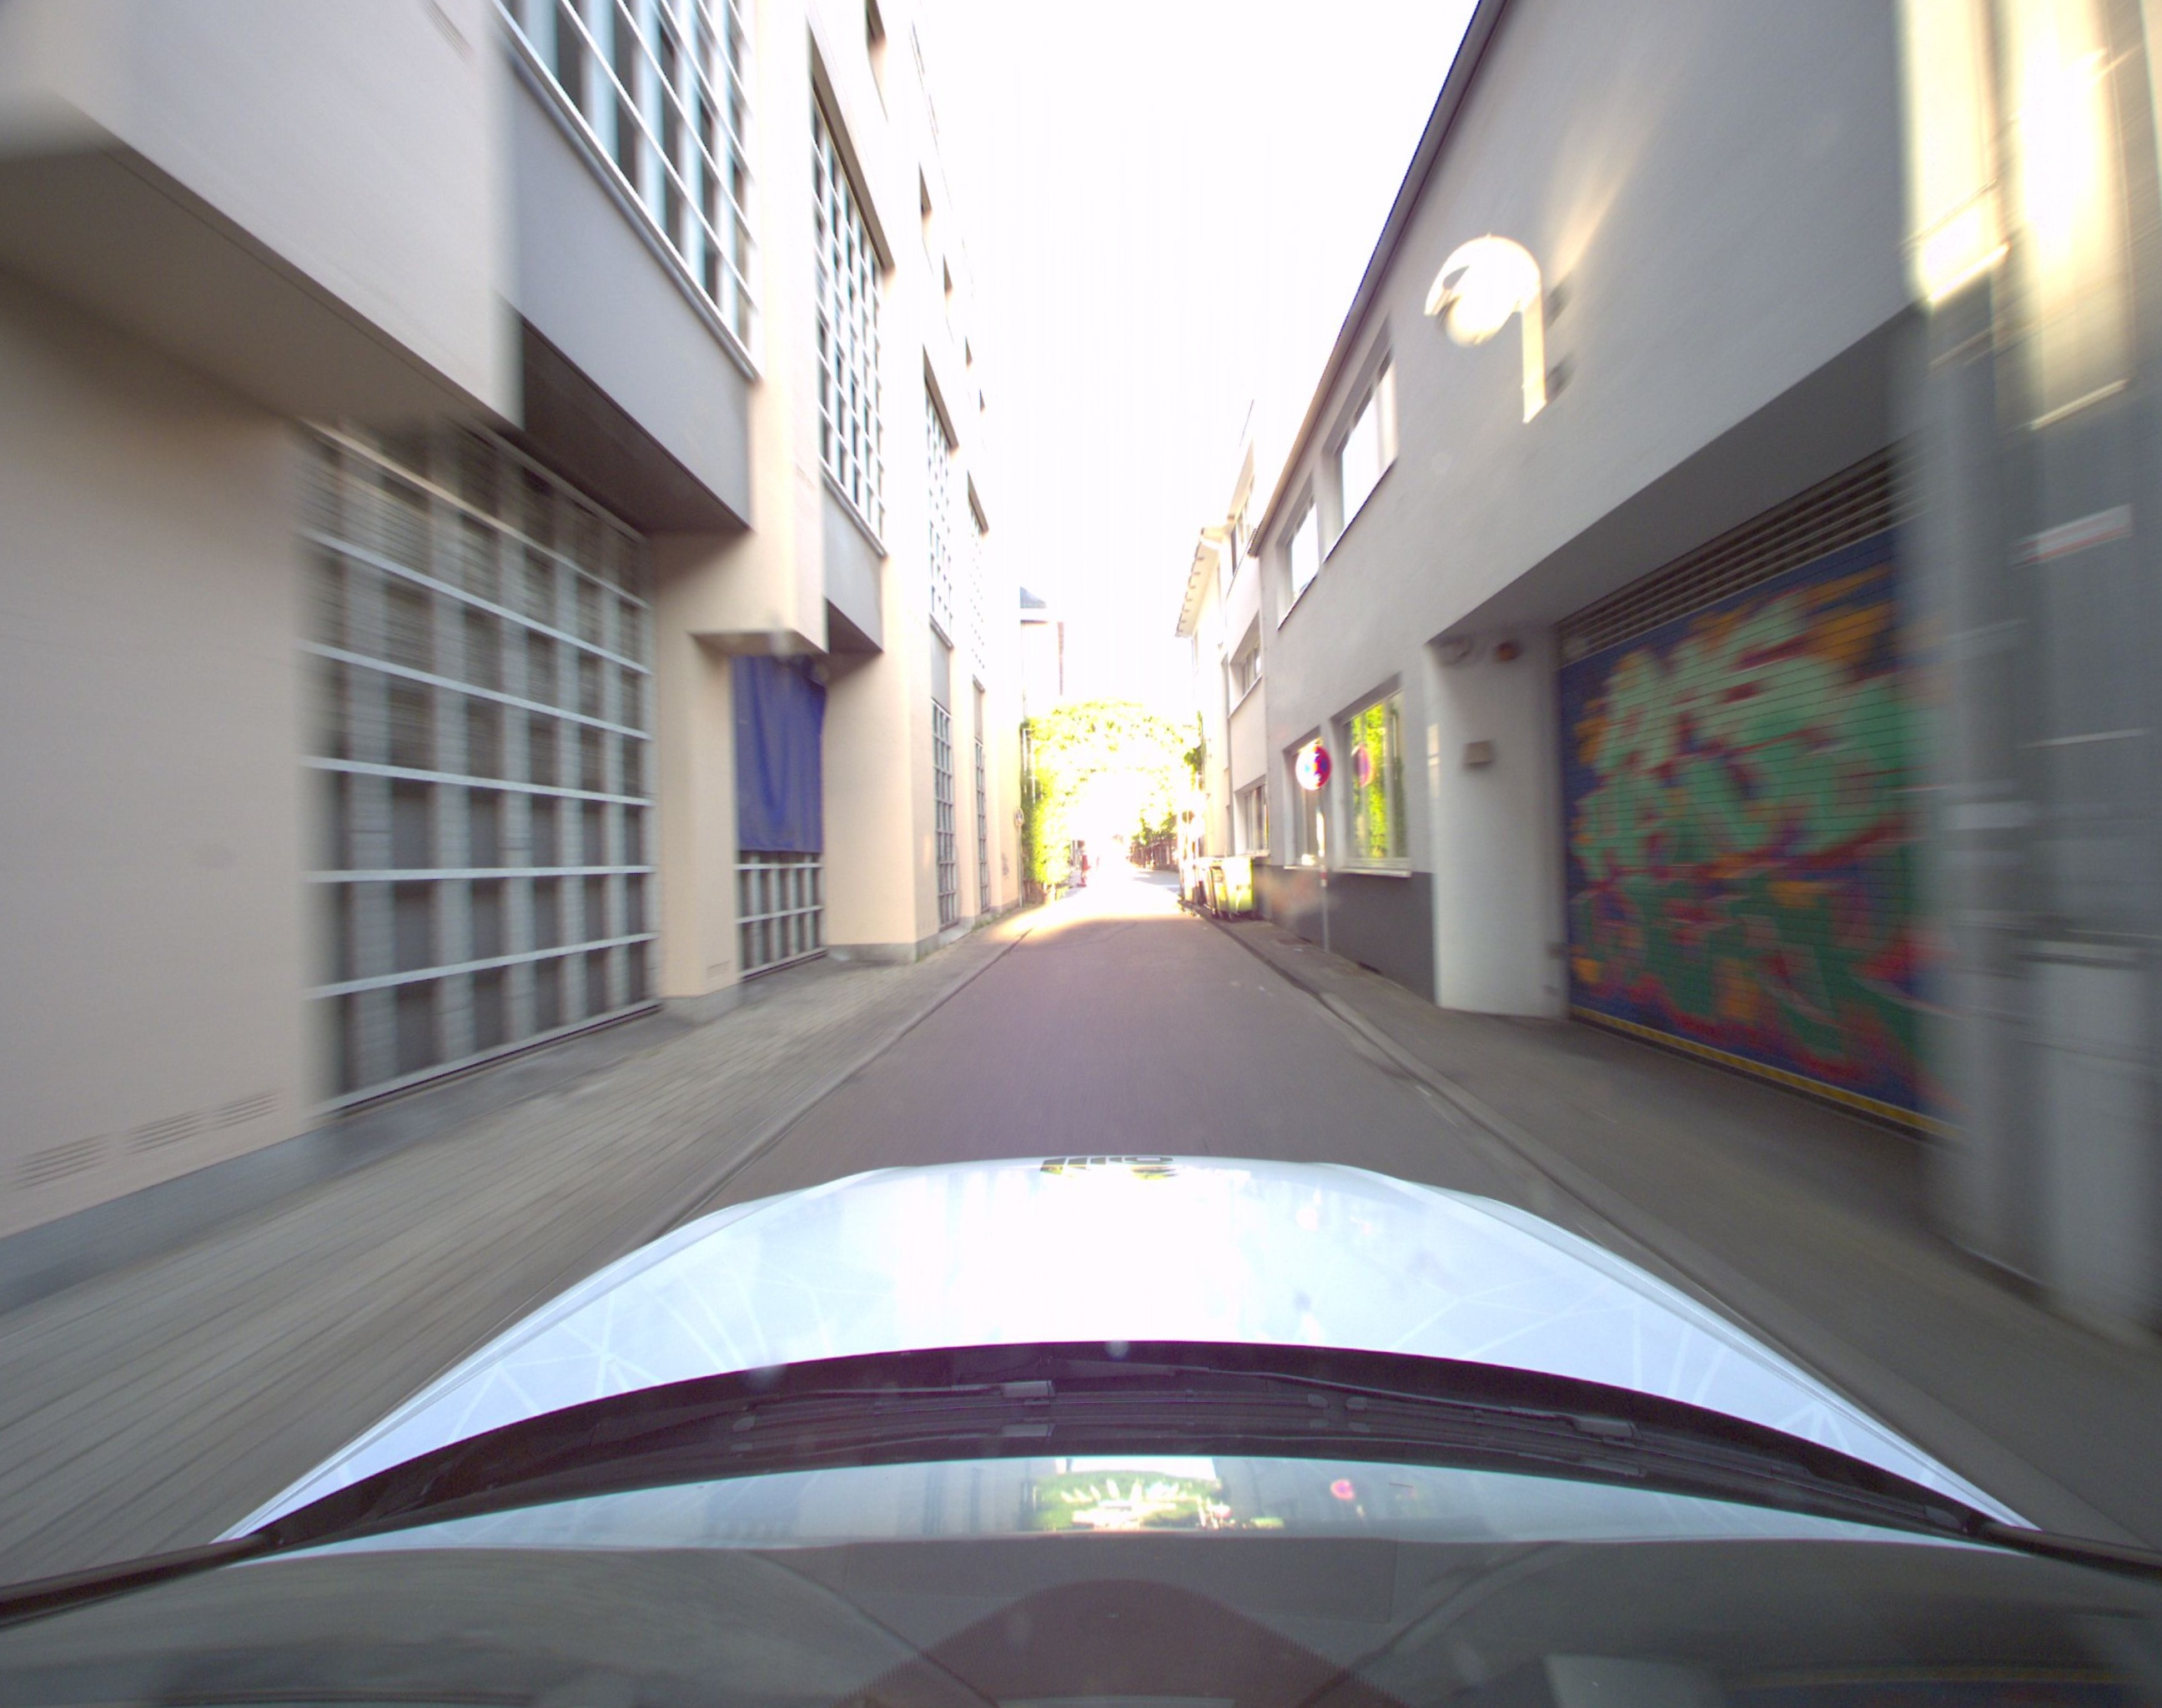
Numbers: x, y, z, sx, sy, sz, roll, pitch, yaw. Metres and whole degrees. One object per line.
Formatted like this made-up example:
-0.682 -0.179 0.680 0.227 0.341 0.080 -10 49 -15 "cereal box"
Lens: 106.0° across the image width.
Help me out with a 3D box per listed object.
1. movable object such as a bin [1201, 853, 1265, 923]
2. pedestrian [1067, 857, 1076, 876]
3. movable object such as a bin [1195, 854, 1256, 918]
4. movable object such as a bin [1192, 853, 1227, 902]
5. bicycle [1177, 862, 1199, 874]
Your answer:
3.237 0.706 17.473 0.935 1.366 1.340 -4 -1 -4 "movable object such as a bin"
-0.833 1.132 74.110 0.651 1.764 0.635 -3 -1 5 "pedestrian"
3.325 0.721 18.877 1.061 1.366 1.342 -5 -1 0 "movable object such as a bin"
3.690 0.658 23.522 0.831 1.305 1.292 -5 -1 5 "movable object such as a bin"
10.918 1.429 83.213 2.137 1.061 0.593 -3 -2 15 "bicycle"
